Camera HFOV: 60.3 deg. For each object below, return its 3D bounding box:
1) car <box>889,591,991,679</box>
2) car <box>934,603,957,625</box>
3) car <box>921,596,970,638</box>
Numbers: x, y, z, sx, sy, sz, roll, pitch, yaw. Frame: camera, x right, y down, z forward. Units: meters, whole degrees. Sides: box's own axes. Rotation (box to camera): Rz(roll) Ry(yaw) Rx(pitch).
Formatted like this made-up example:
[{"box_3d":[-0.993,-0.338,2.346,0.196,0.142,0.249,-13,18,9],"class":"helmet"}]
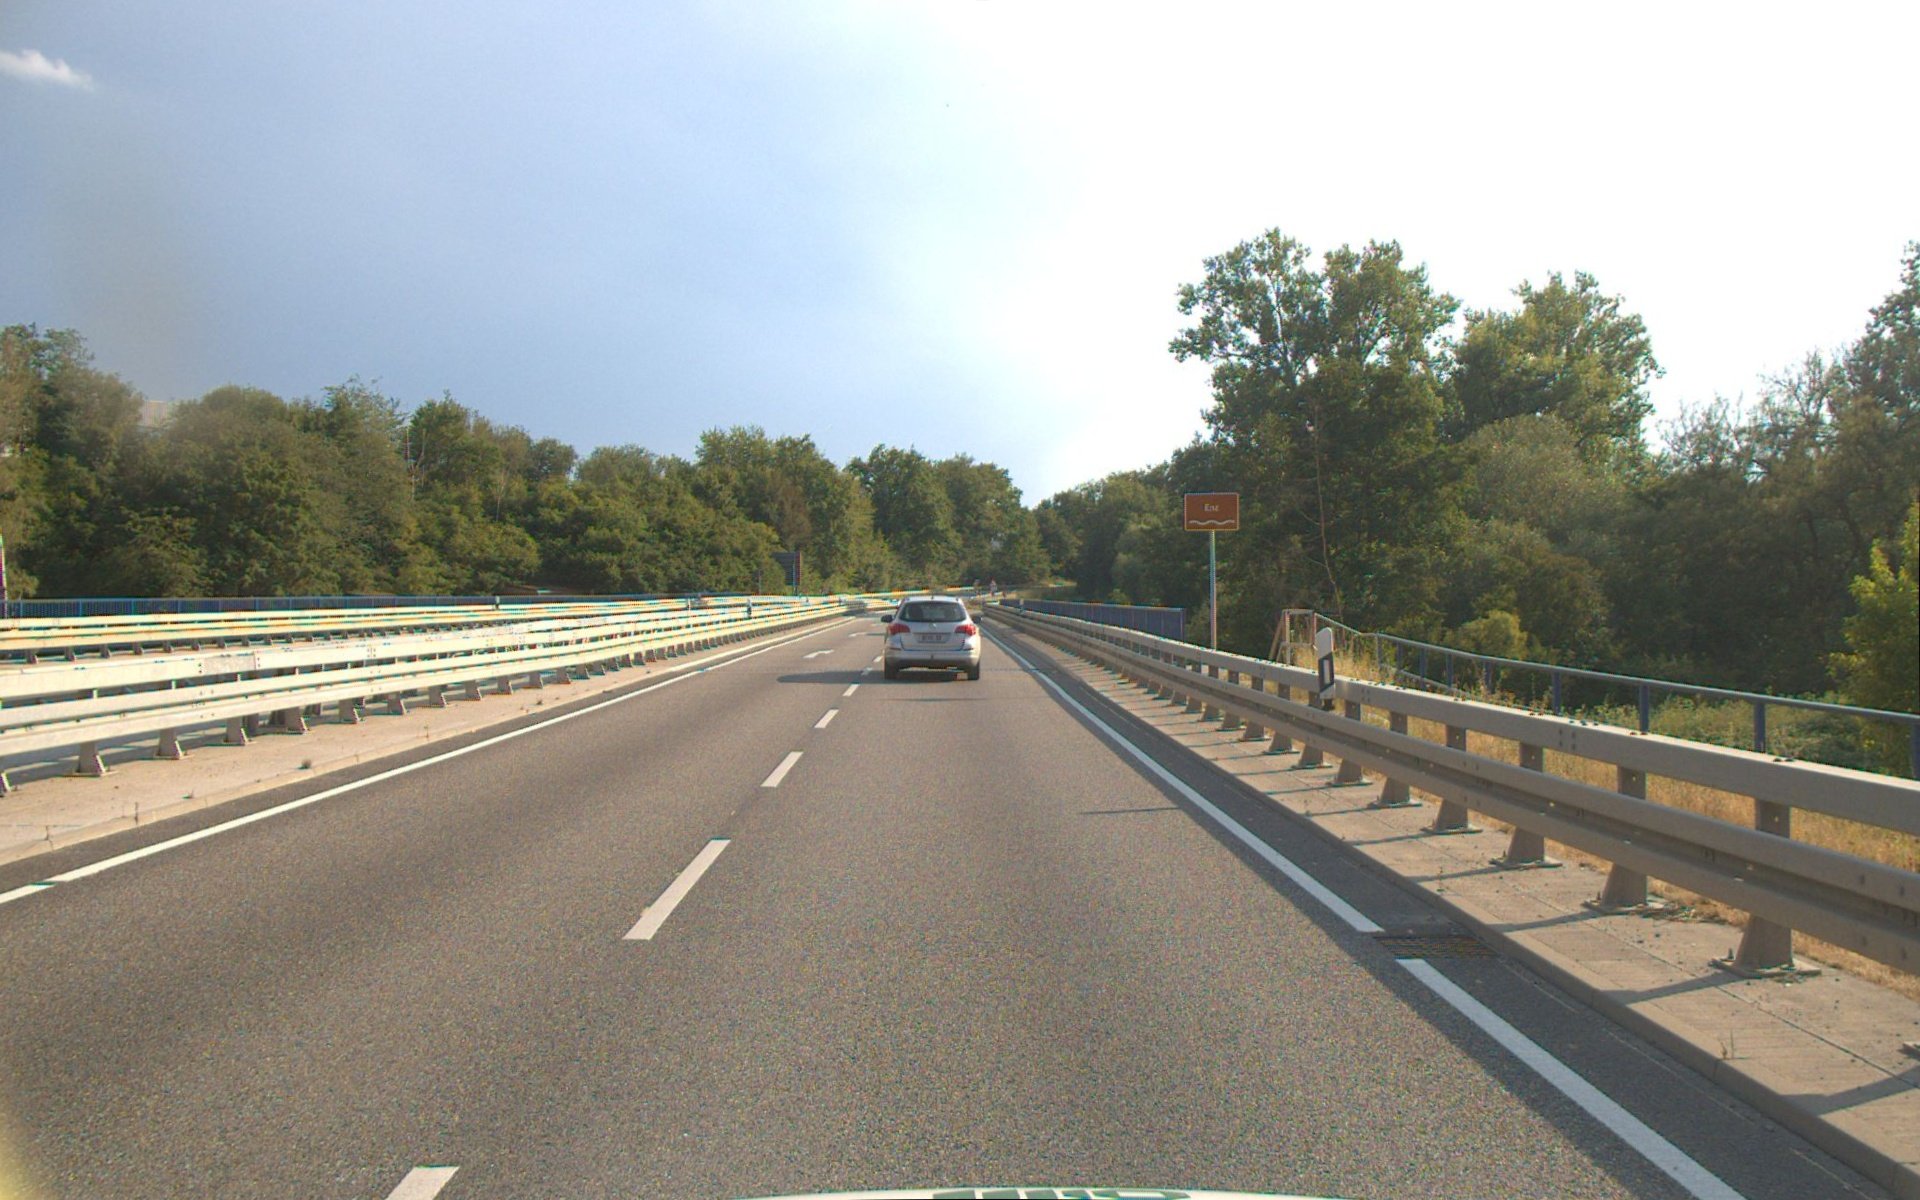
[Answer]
[{"box_3d":[-0.402,0.656,31.087,1.772,1.512,3.998,1,-1,-1],"class":"car"},{"box_3d":[-1.434,1.332,160.236,1.955,2.049,3.995,1,-1,-5],"class":"car"},{"box_3d":[-0.594,0.681,63.147,1.772,1.512,3.998,1,-1,-1],"class":"car"}]
